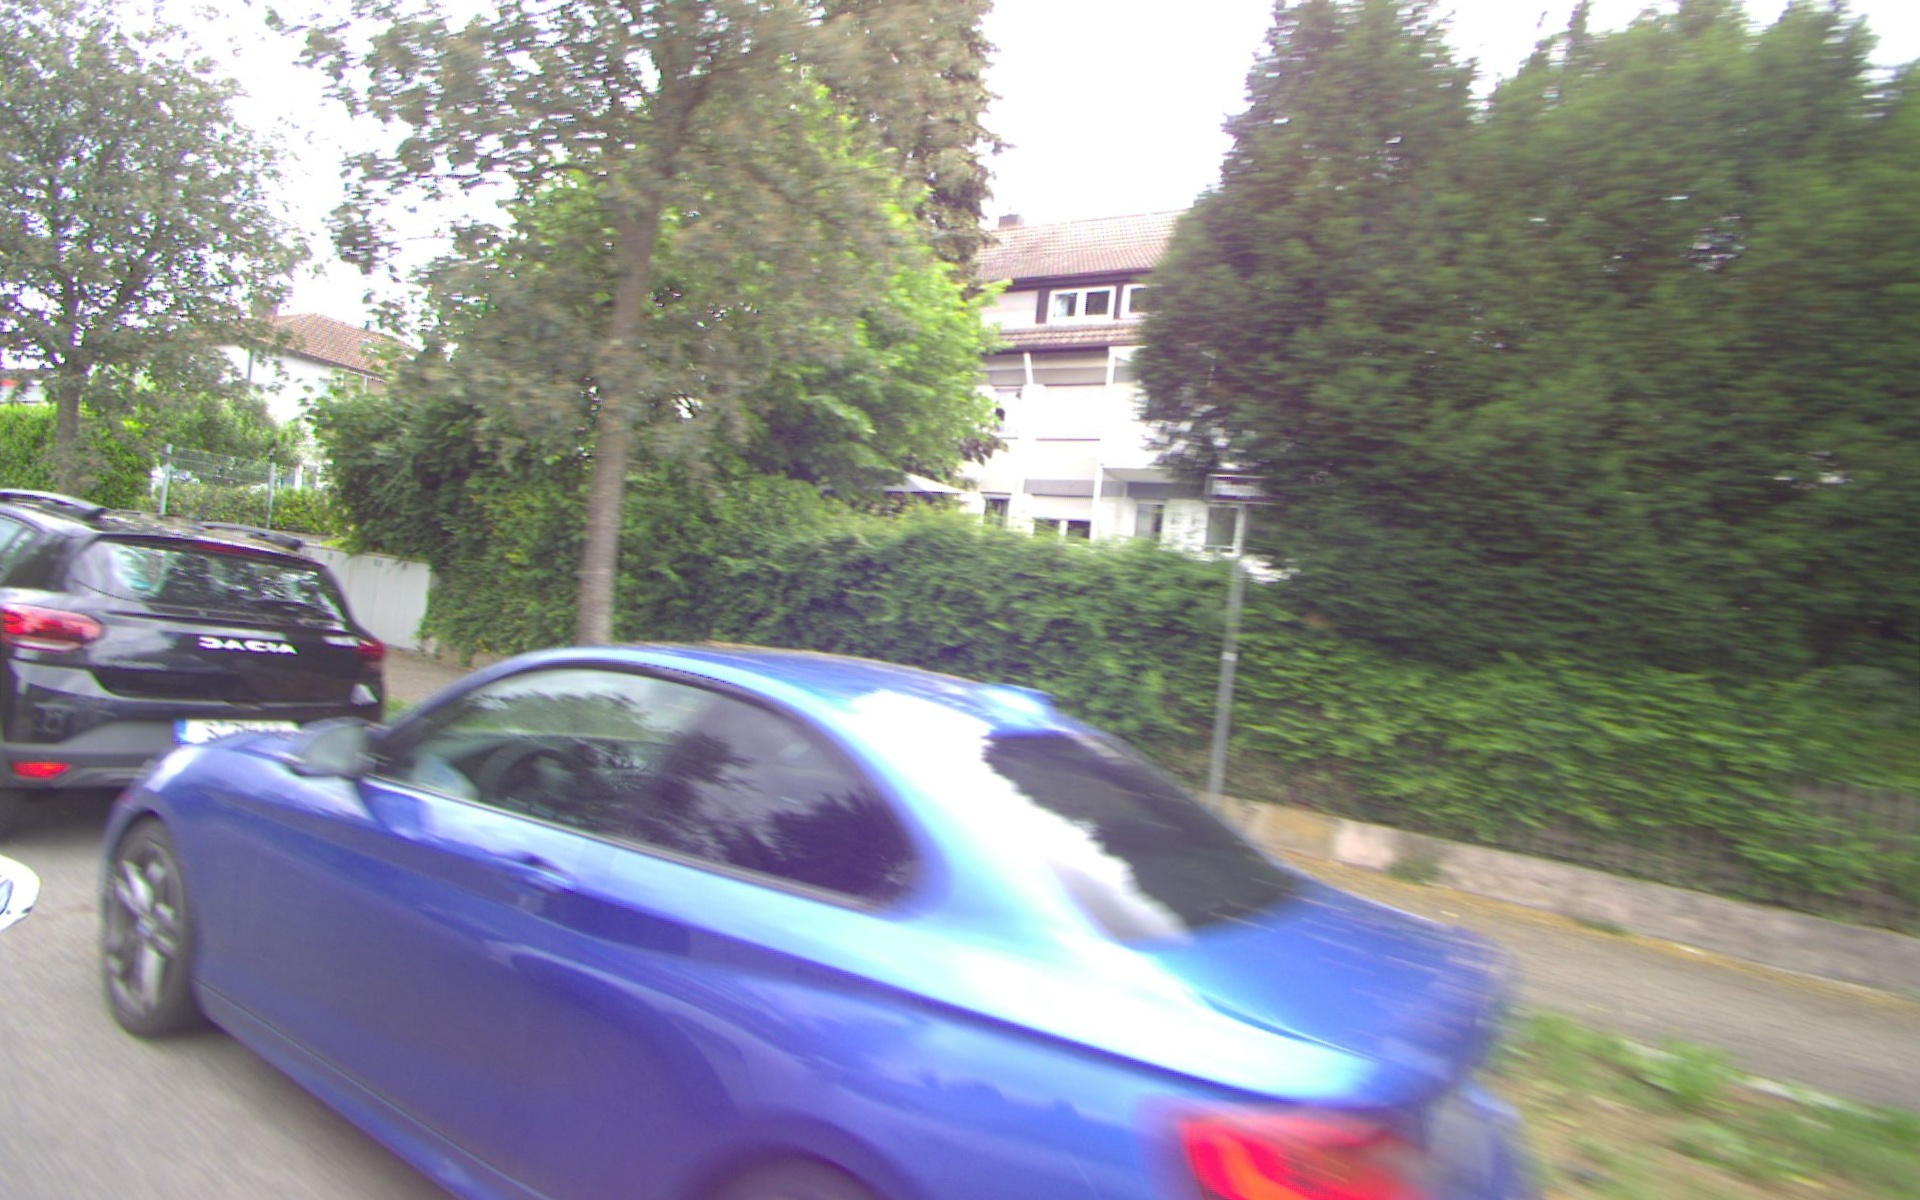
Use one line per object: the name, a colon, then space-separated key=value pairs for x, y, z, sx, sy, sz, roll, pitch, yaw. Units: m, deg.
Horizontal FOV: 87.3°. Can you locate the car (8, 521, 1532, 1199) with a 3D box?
car: x=-0.857 y=0.745 z=2.972 sx=4.268 sy=1.449 sz=1.700 roll=7 pitch=-2 yaw=32

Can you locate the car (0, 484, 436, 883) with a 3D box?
car: x=-5.057 y=0.250 z=5.700 sx=3.888 sy=1.588 sz=1.700 roll=6 pitch=-3 yaw=29
